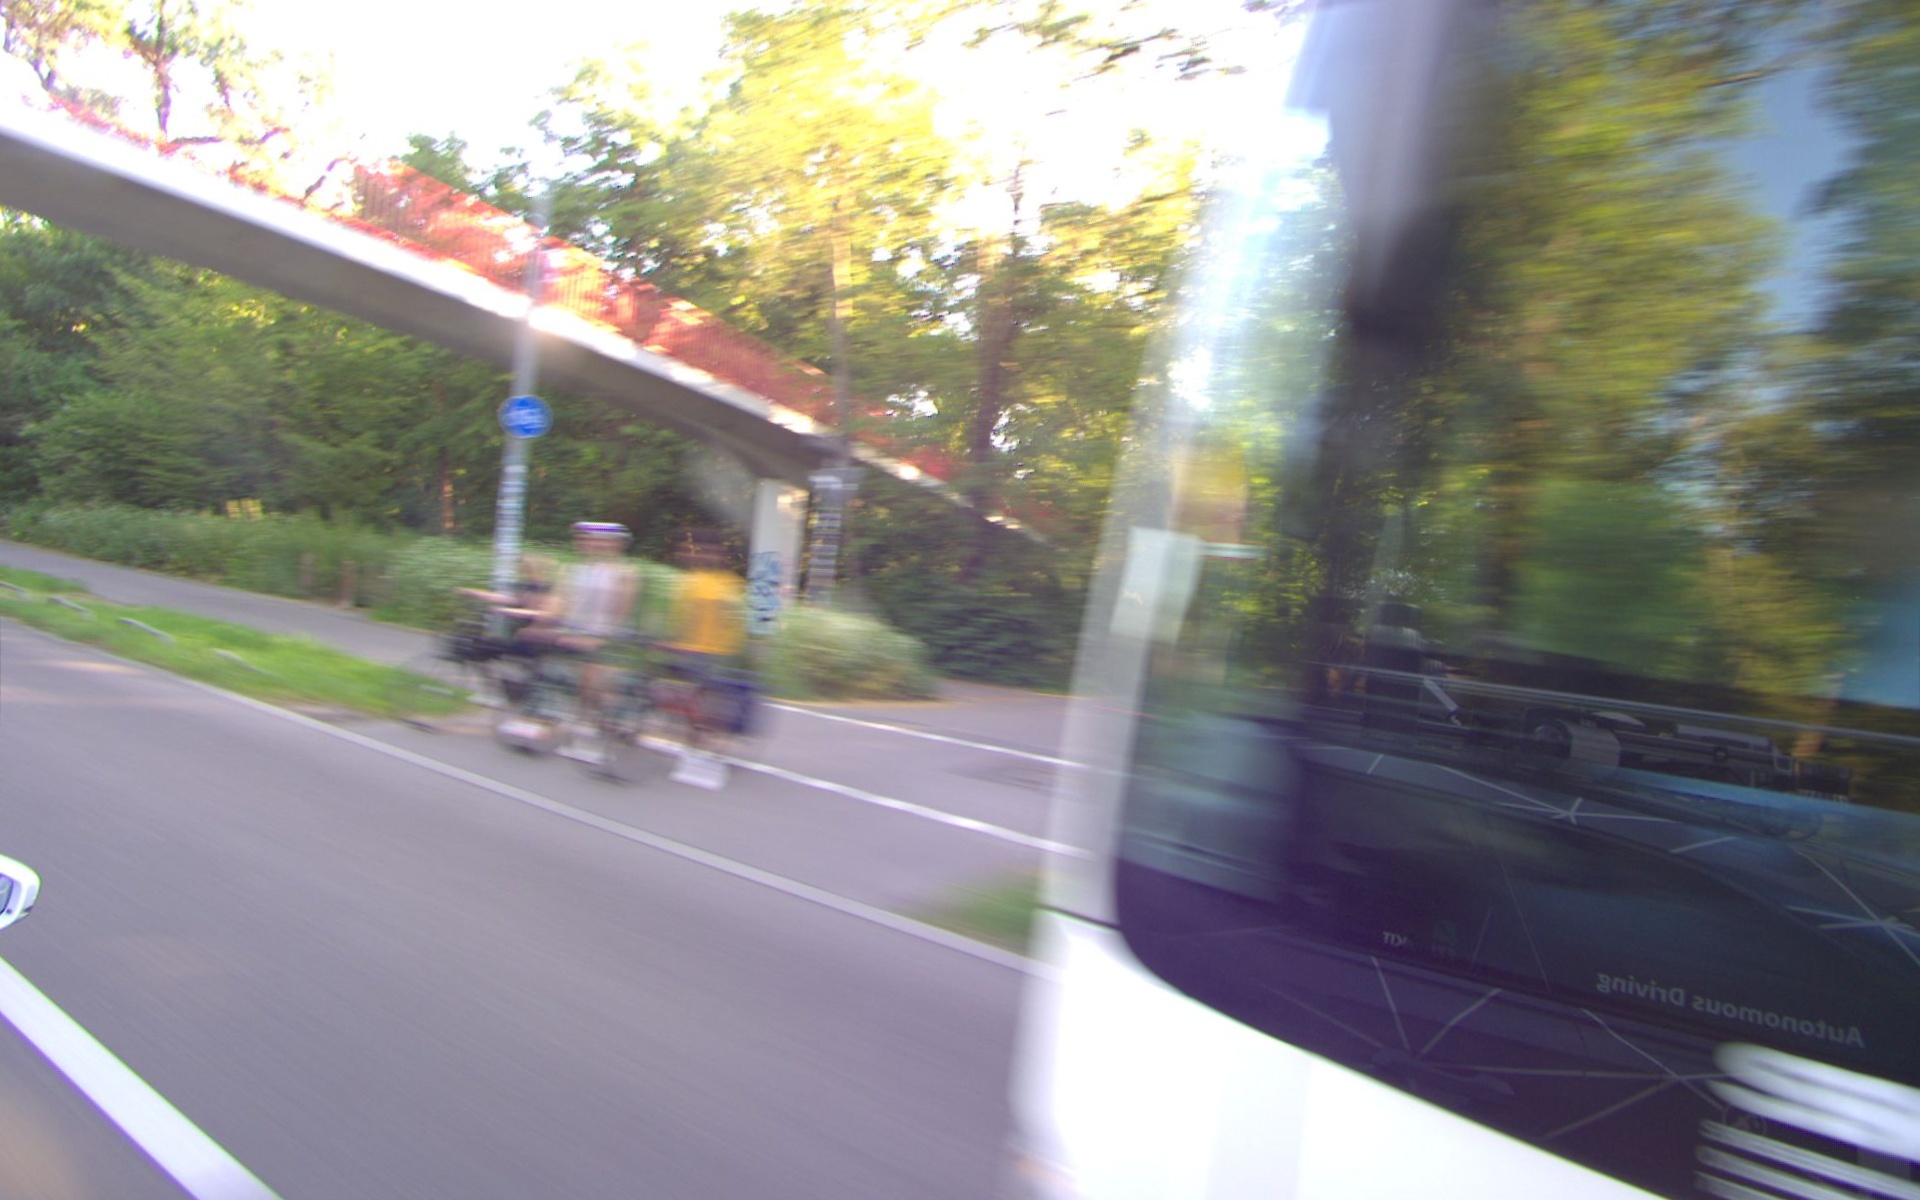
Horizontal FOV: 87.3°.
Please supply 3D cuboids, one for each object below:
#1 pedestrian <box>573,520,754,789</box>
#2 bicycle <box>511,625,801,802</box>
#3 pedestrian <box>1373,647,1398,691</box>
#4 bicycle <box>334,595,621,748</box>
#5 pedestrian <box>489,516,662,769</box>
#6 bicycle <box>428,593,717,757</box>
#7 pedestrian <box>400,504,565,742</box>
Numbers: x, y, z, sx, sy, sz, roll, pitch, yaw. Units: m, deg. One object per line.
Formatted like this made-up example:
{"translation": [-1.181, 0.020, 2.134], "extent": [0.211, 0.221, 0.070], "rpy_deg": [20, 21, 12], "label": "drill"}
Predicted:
{"translation": [-2.263, 0.397, 7.697], "extent": [0.922, 1.876, 0.700], "rpy_deg": [7, 1, 28], "label": "pedestrian"}
{"translation": [-2.253, 0.827, 7.784], "extent": [0.855, 1.081, 2.066], "rpy_deg": [7, 0, 28], "label": "bicycle"}
{"translation": [18.995, 3.091, 44.939], "extent": [0.787, 1.833, 0.646], "rpy_deg": [6, -2, 31], "label": "pedestrian"}
{"translation": [-4.081, 0.609, 8.722], "extent": [0.855, 1.081, 2.066], "rpy_deg": [7, 0, 28], "label": "bicycle"}
{"translation": [-3.109, 0.329, 8.157], "extent": [0.922, 1.876, 0.700], "rpy_deg": [7, 1, 28], "label": "pedestrian"}
{"translation": [-3.066, 0.599, 8.221], "extent": [0.855, 1.081, 2.066], "rpy_deg": [7, 0, 28], "label": "bicycle"}
{"translation": [-4.089, 0.189, 8.632], "extent": [0.922, 1.876, 0.700], "rpy_deg": [7, 1, 28], "label": "pedestrian"}
